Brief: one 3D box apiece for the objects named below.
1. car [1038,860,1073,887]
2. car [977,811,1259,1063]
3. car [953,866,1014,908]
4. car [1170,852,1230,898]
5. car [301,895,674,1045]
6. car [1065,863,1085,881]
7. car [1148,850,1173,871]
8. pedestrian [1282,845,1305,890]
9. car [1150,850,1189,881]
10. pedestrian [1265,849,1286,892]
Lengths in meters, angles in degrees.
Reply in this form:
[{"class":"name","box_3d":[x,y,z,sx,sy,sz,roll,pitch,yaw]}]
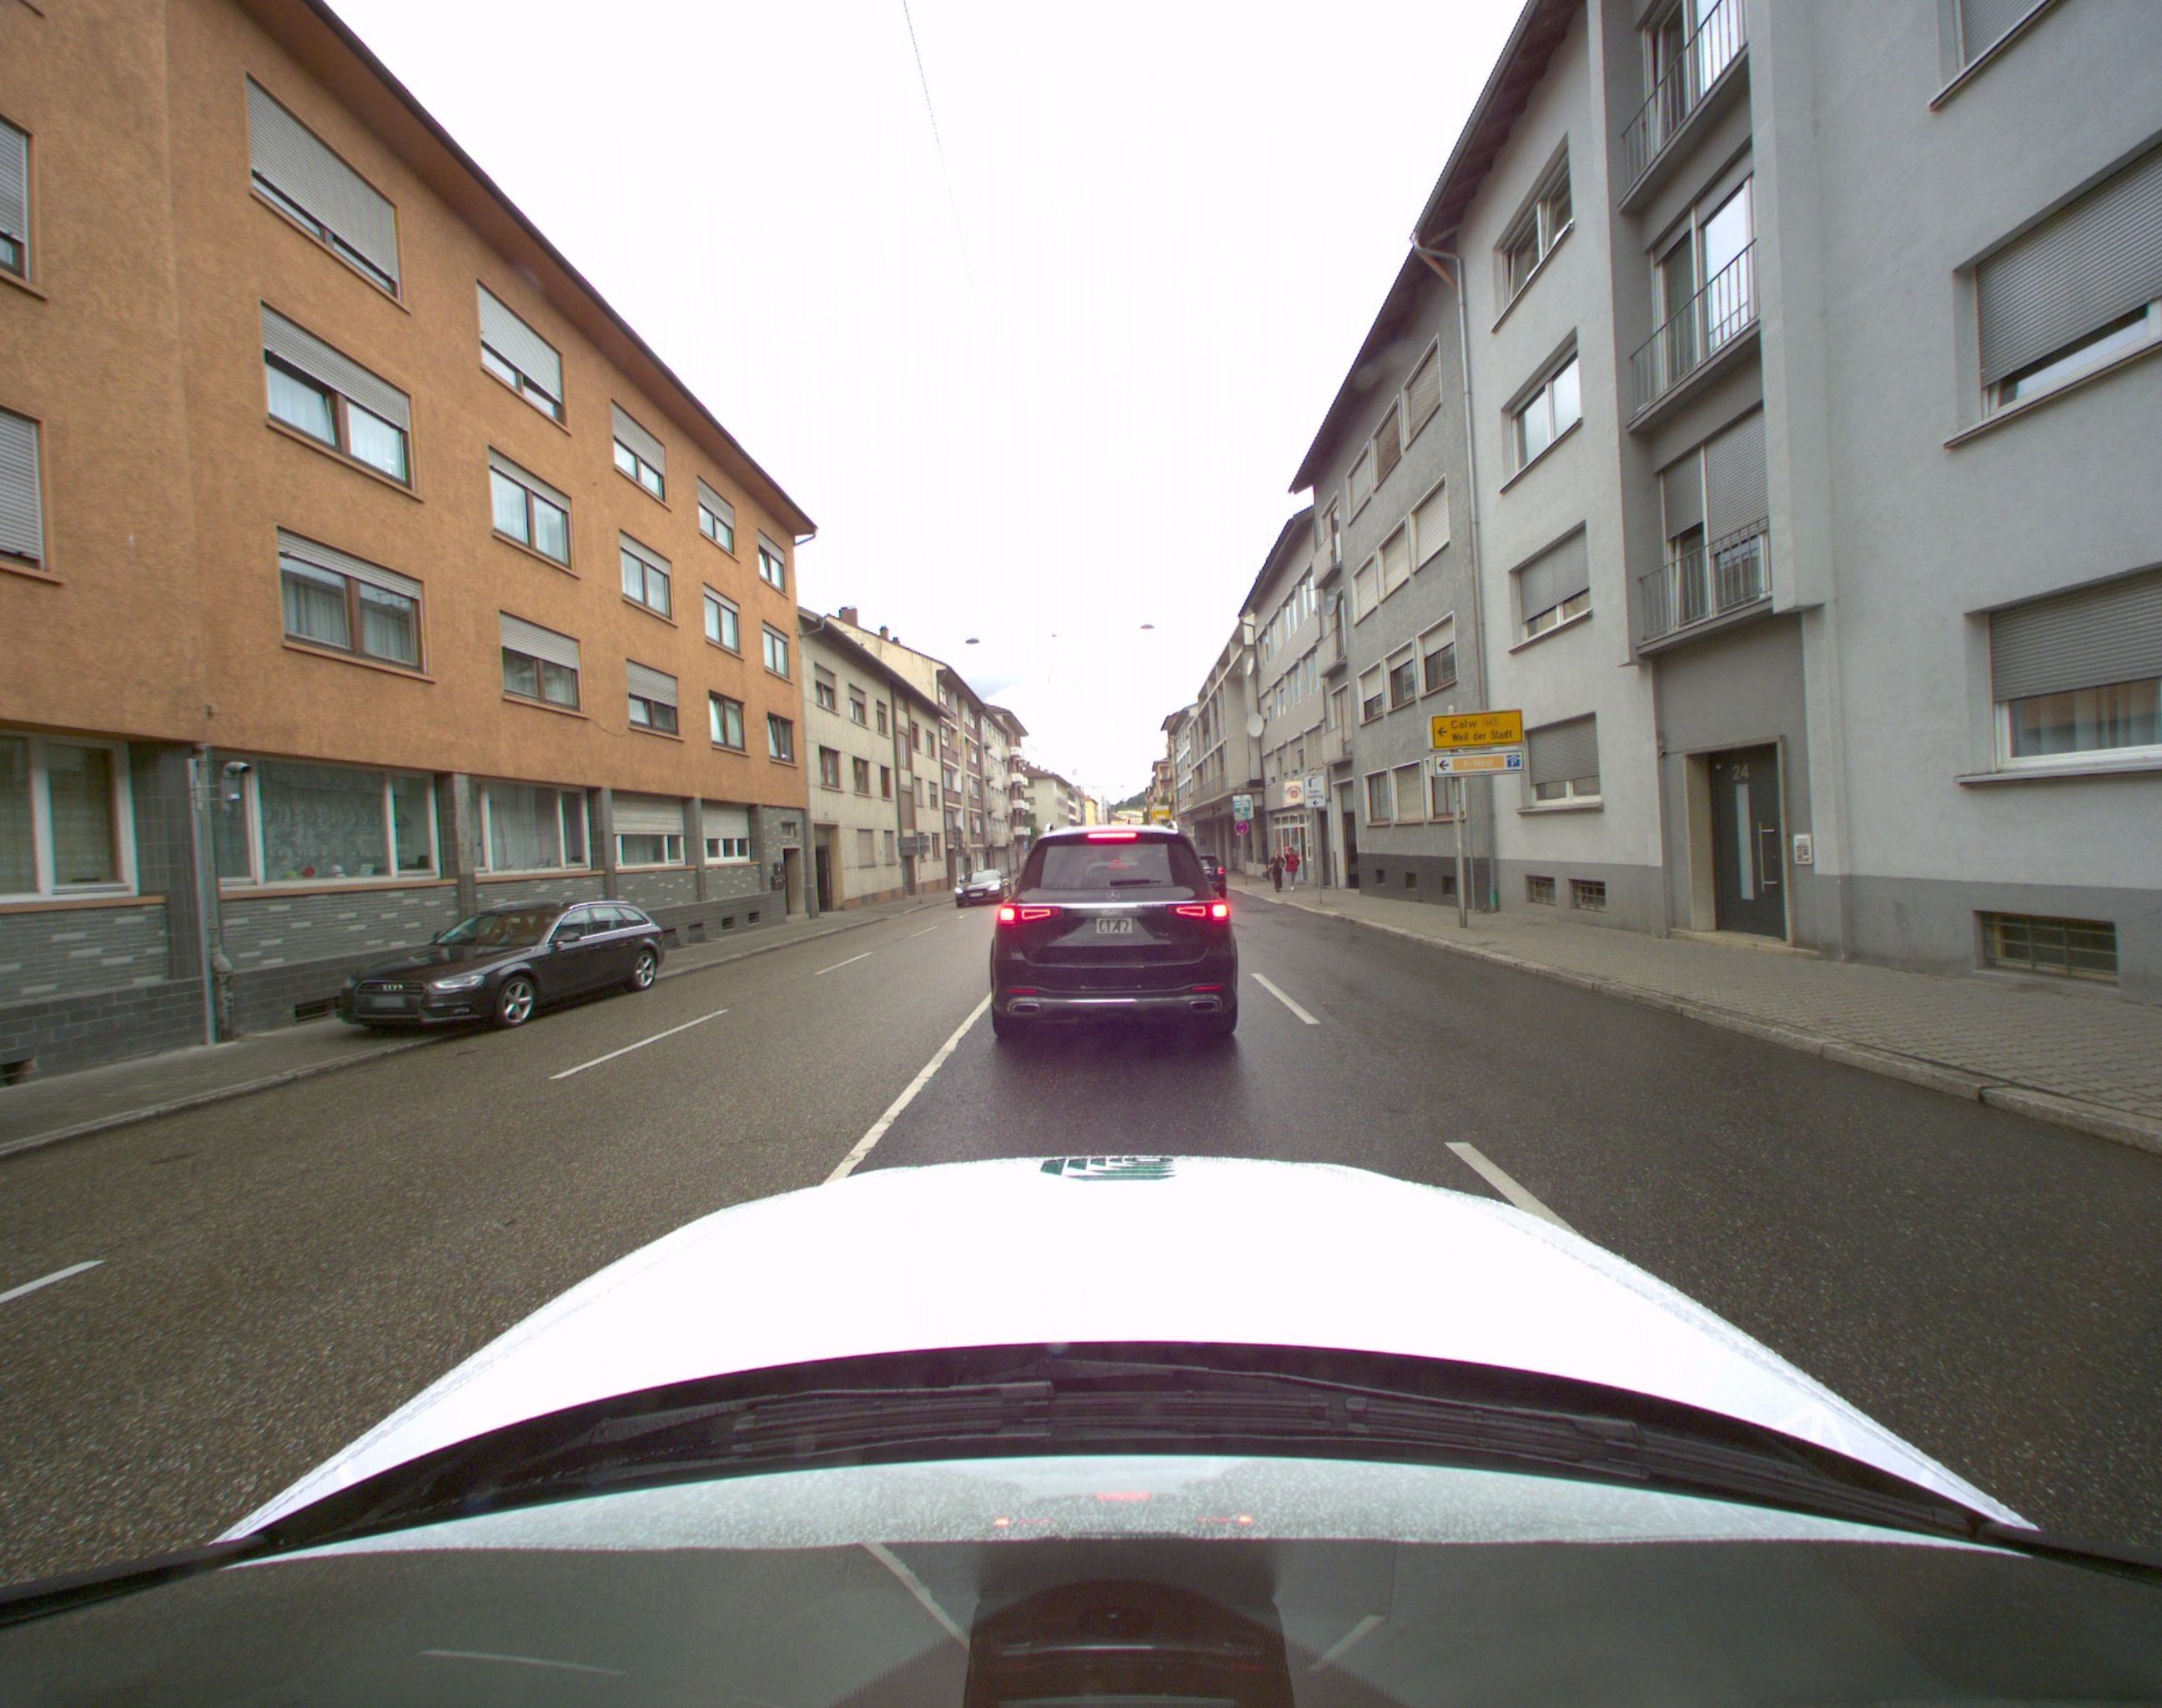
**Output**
[{"class":"car","box_3d":[-1.461,1.104,48.488,1.718,1.390,4.341,-4,0,2]},{"class":"car","box_3d":[0.311,0.602,7.867,2.018,1.806,4.001,0,0,1]},{"class":"car","box_3d":[-3.865,1.289,32.834,1.761,1.346,3.890,-6,0,1]},{"class":"car","box_3d":[4.377,0.738,30.445,1.760,1.580,4.002,-2,0,2]},{"class":"car","box_3d":[-7.741,1.407,11.331,1.789,1.438,4.528,0,0,1]},{"class":"car","box_3d":[-0.593,1.748,79.990,1.727,1.575,4.012,-6,0,1]},{"class":"car","box_3d":[6.236,0.506,64.405,1.800,1.606,4.216,-1,0,4]},{"class":"pedestrian","box_3d":[7.708,0.472,29.563,0.558,1.578,0.526,-5,0,1]},{"class":"car","box_3d":[5.411,0.660,50.160,1.933,1.775,4.747,-1,0,1]},{"class":"pedestrian","box_3d":[7.111,0.596,29.727,0.504,1.500,0.562,-5,0,1]}]
